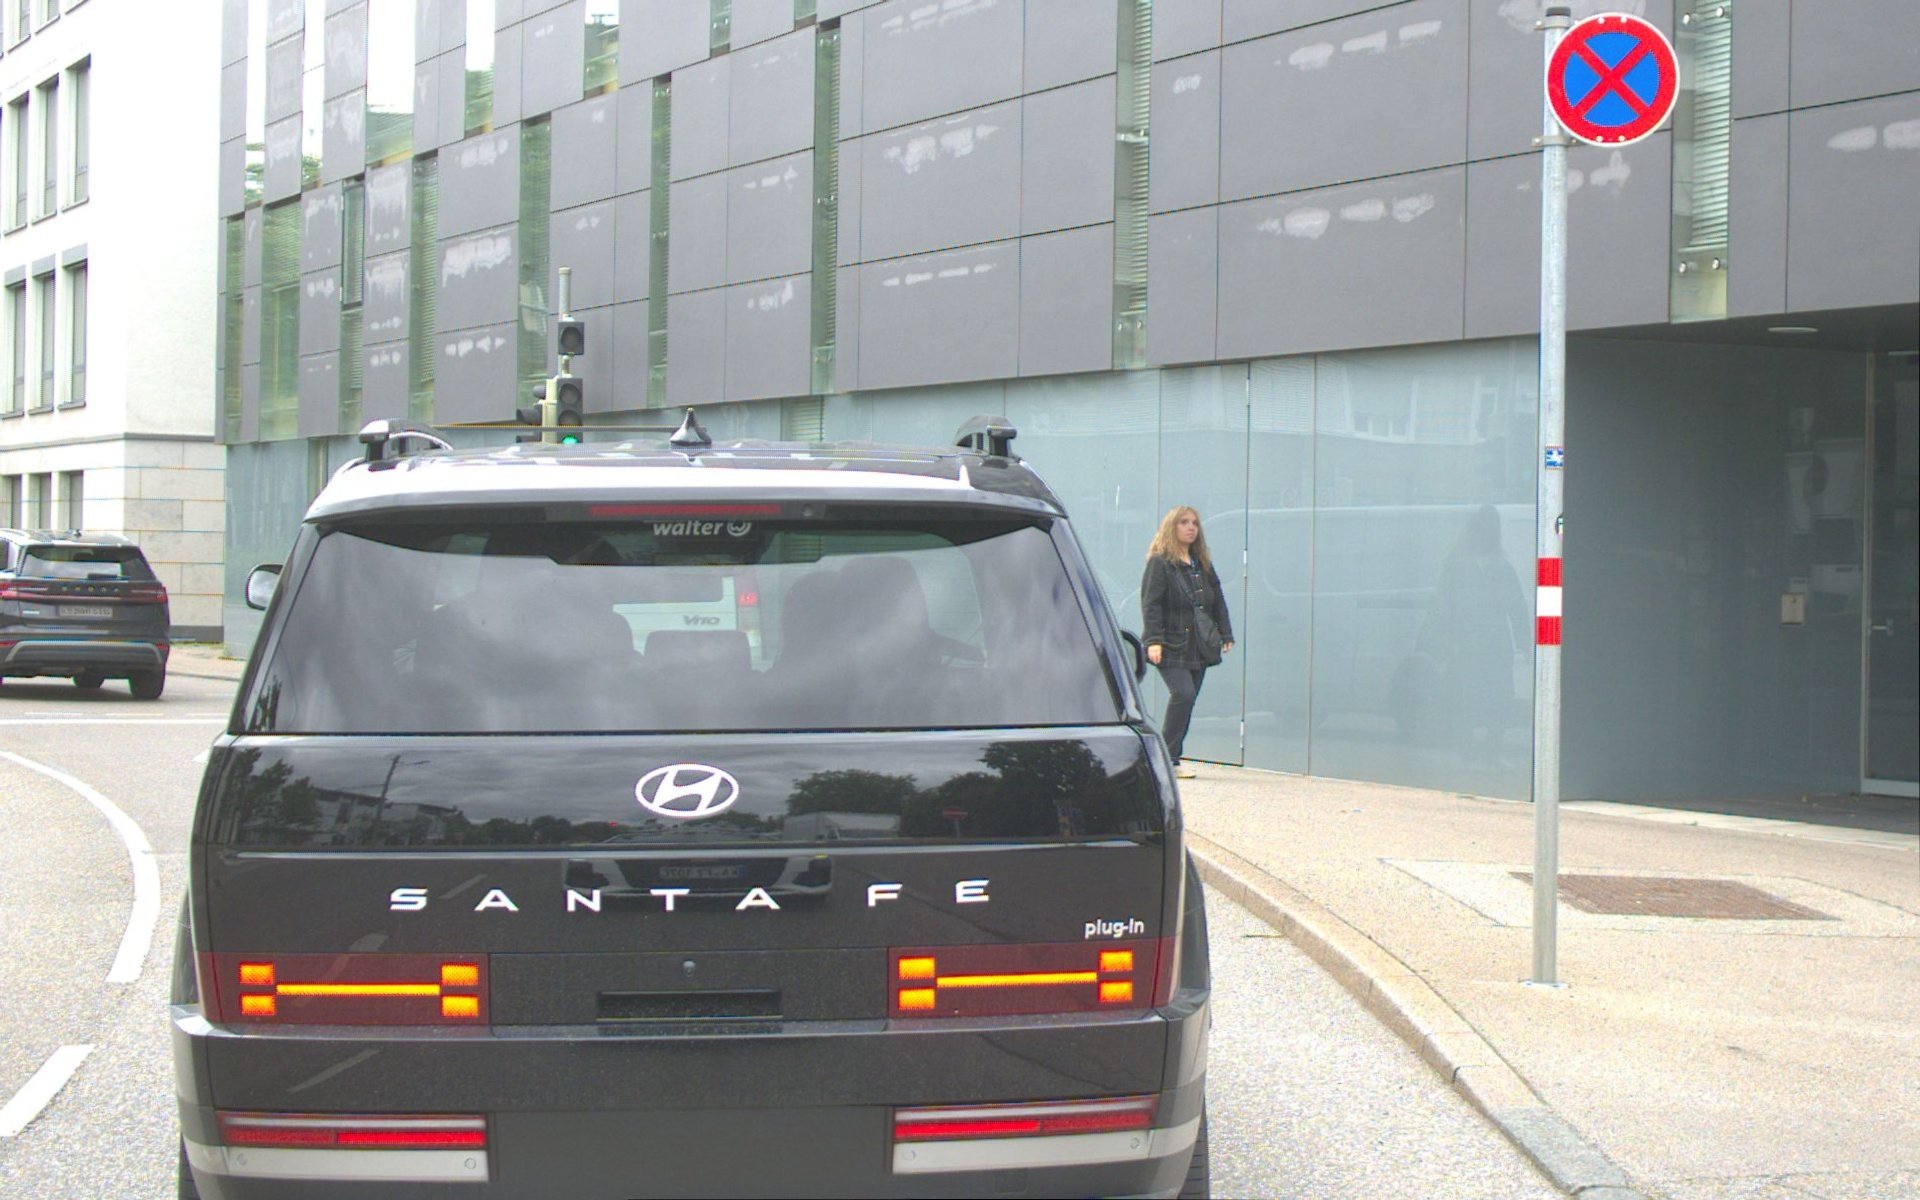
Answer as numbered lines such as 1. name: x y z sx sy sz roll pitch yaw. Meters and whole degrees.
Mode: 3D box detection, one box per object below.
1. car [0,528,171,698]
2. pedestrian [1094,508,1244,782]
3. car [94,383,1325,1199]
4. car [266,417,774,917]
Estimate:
1. car: -9.237 0.083 34.541 1.759 1.603 4.189 1 1 -24
2. pedestrian: 1.322 0.279 21.885 0.863 1.688 0.714 2 0 0
3. car: -0.624 0.503 7.537 1.908 1.743 4.398 0 1 -7
4. car: -2.204 0.238 16.060 1.931 1.987 4.536 1 1 -12
